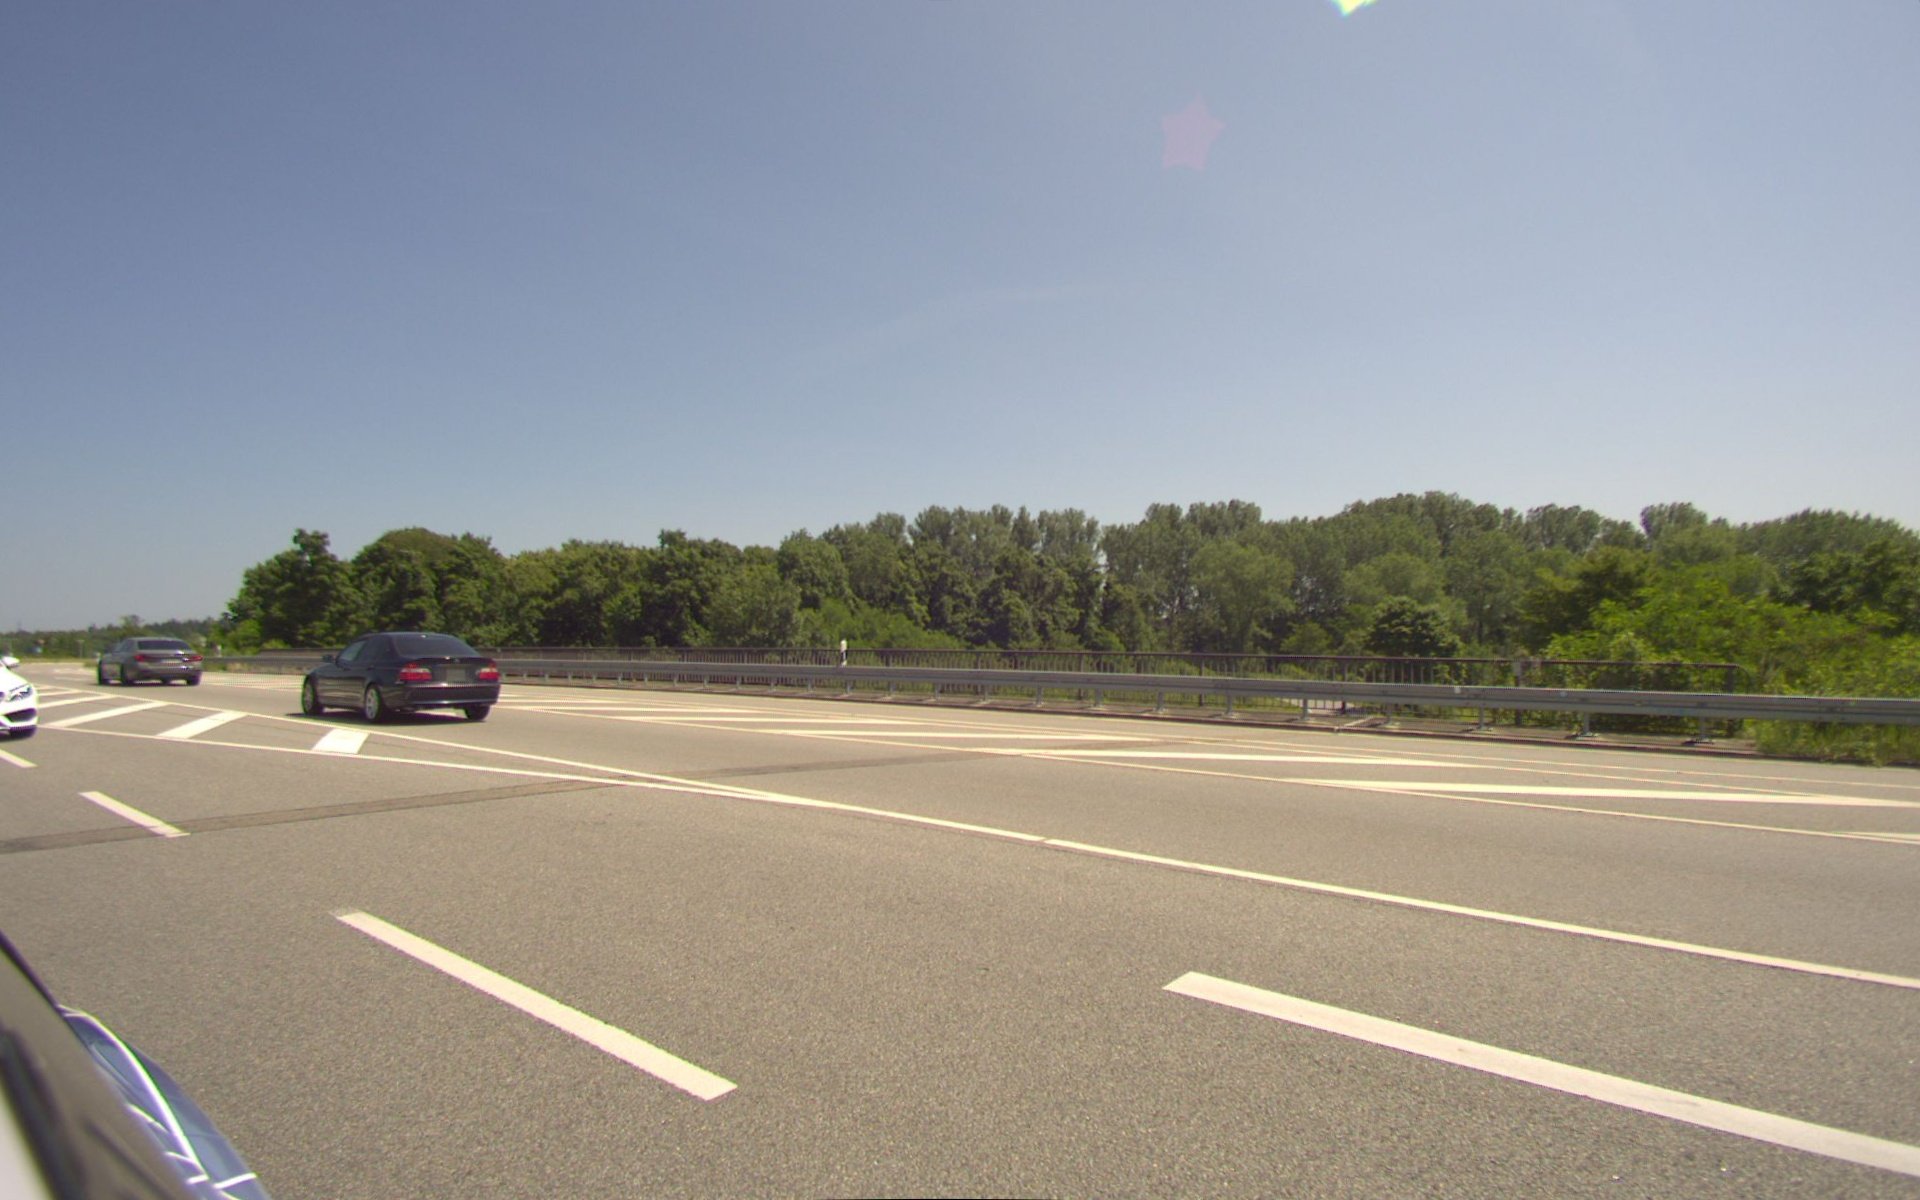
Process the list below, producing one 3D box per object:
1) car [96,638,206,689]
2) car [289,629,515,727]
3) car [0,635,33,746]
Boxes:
[{"bbox_3d":[-24.895,1.932,31.073,4.790,1.464,1.706,-3,-4,40],"label":"car"},{"bbox_3d":[-9.292,1.246,16.714,4.375,1.412,1.717,-3,-4,39],"label":"car"},{"bbox_3d":[-14.454,1.241,13.904,4.102,1.426,1.792,-2,-2,36],"label":"car"}]
